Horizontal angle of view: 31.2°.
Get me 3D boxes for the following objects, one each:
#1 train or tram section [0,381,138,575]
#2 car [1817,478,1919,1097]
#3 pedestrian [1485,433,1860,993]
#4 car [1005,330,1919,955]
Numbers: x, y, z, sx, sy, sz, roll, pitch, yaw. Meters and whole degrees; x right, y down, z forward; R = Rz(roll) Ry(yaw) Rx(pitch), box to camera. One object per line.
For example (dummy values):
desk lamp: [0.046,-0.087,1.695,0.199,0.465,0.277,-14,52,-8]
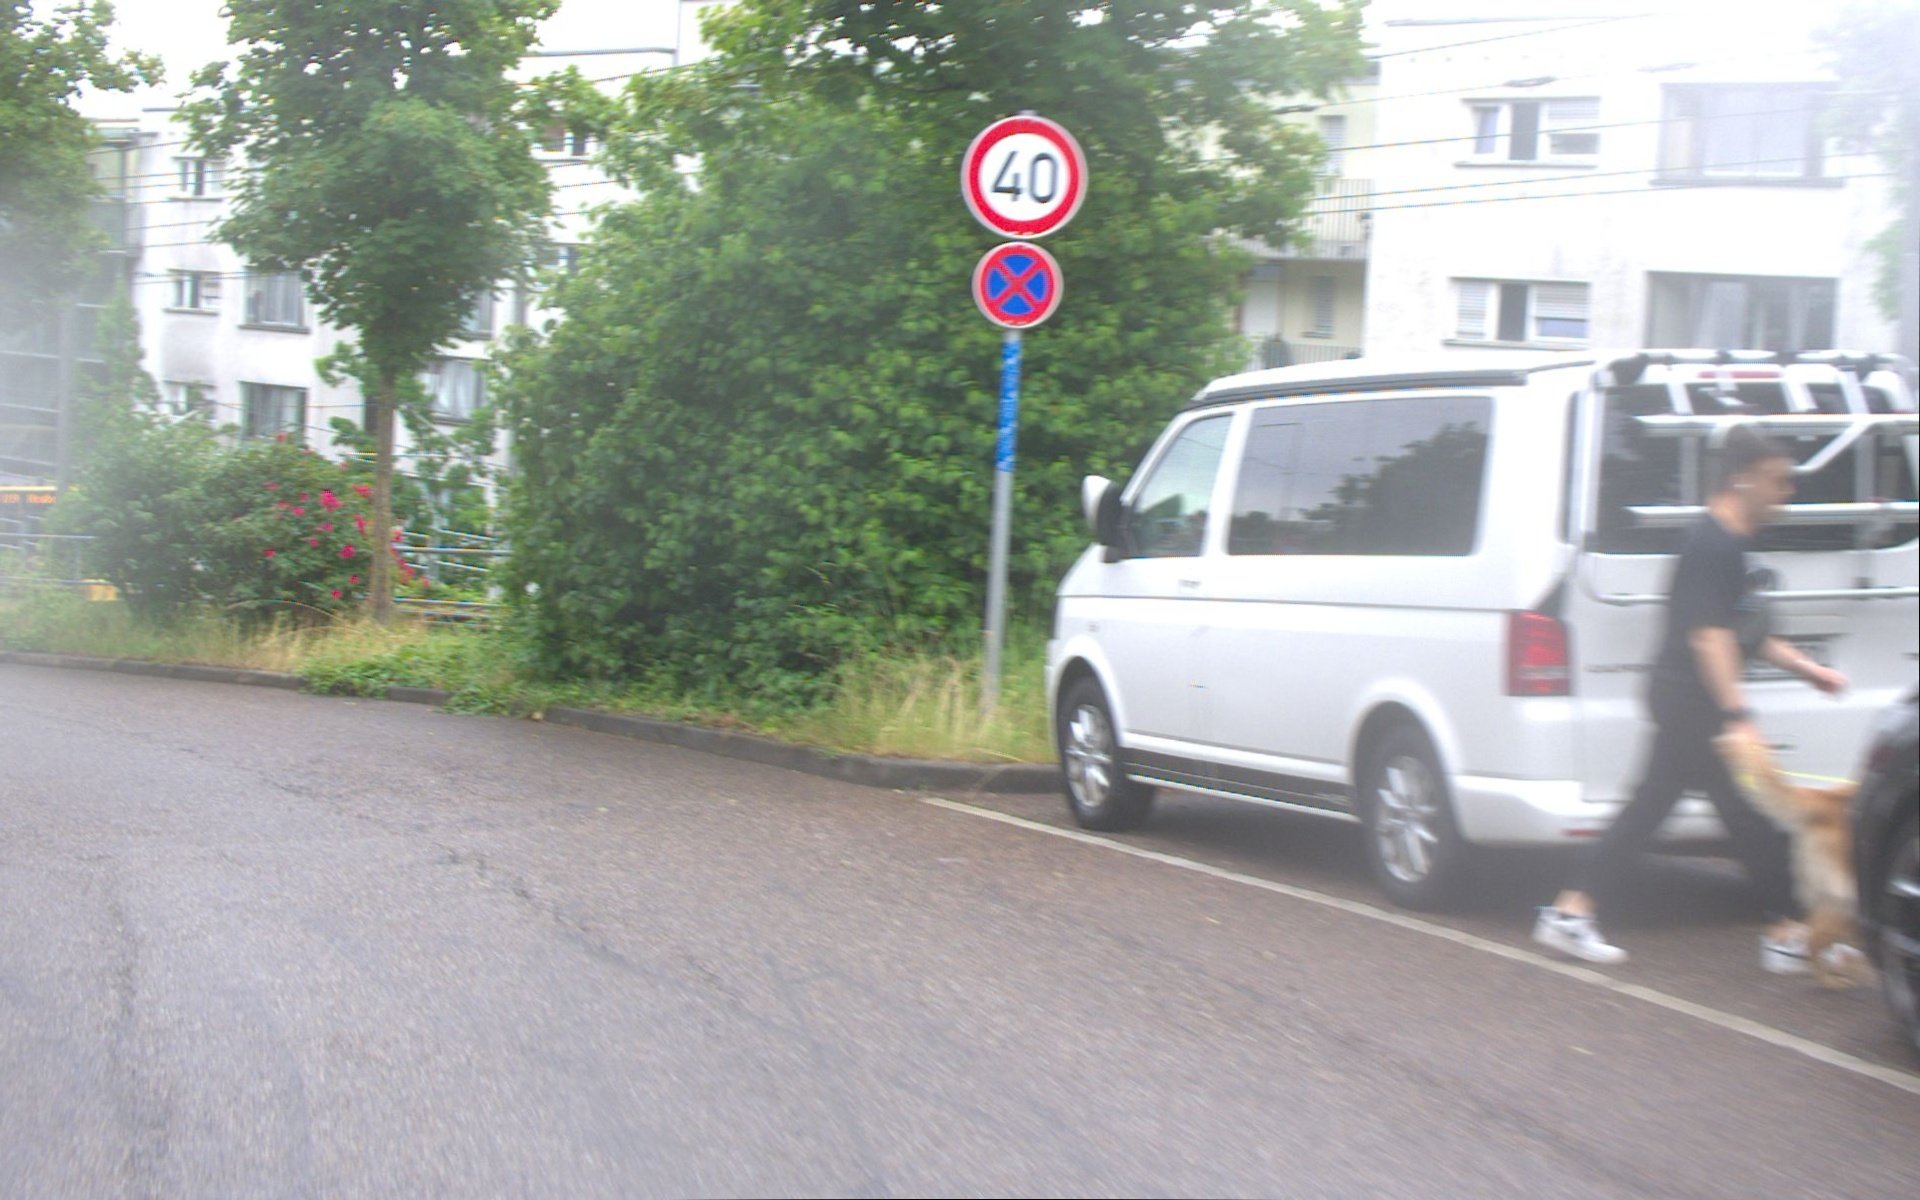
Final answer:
train or tram section: [-24.913,-2.849,78.676,3.332,3.934,19.274,0,2,-41]
car: [3.623,0.505,7.251,1.718,1.550,4.278,-1,2,-14]
pedestrian: [2.194,0.317,10.666,0.922,1.655,0.805,-1,3,-7]
car: [1.890,0.046,13.538,1.876,2.006,4.693,-1,2,-20]
